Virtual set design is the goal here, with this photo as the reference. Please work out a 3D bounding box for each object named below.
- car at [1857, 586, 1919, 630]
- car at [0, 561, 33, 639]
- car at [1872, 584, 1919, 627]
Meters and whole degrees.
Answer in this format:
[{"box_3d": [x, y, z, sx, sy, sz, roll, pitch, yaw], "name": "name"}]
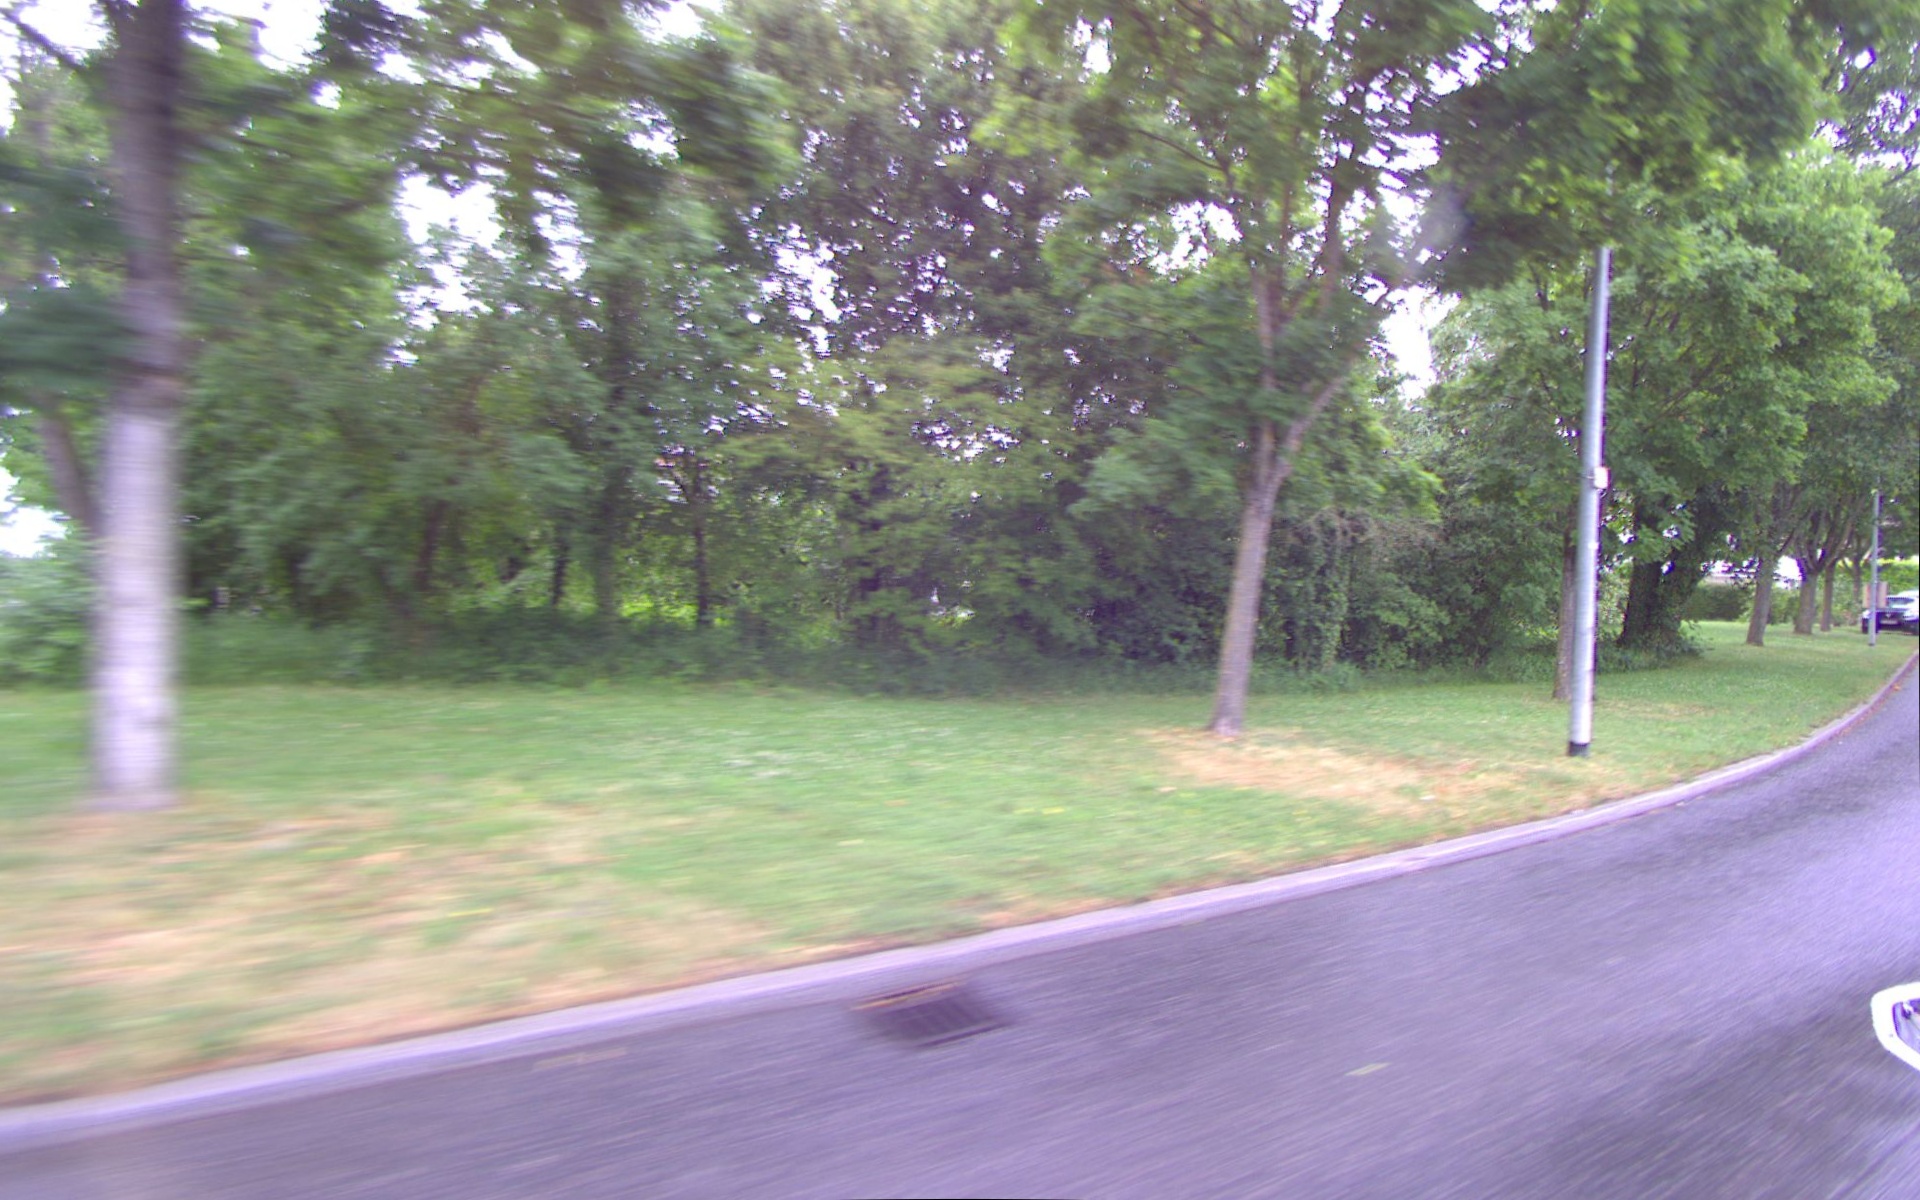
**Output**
[{"box_3d": [39.393, 0.330, 42.398, 4.558, 1.662, 1.734, 1, 3, -42], "name": "car"}, {"box_3d": [-21.031, 0.045, 19.141, 4.412, 1.530, 2.124, -1, 1, -21], "name": "car"}, {"box_3d": [43.419, 0.256, 45.693, 4.326, 1.820, 1.787, 0, 3, -34], "name": "car"}]
